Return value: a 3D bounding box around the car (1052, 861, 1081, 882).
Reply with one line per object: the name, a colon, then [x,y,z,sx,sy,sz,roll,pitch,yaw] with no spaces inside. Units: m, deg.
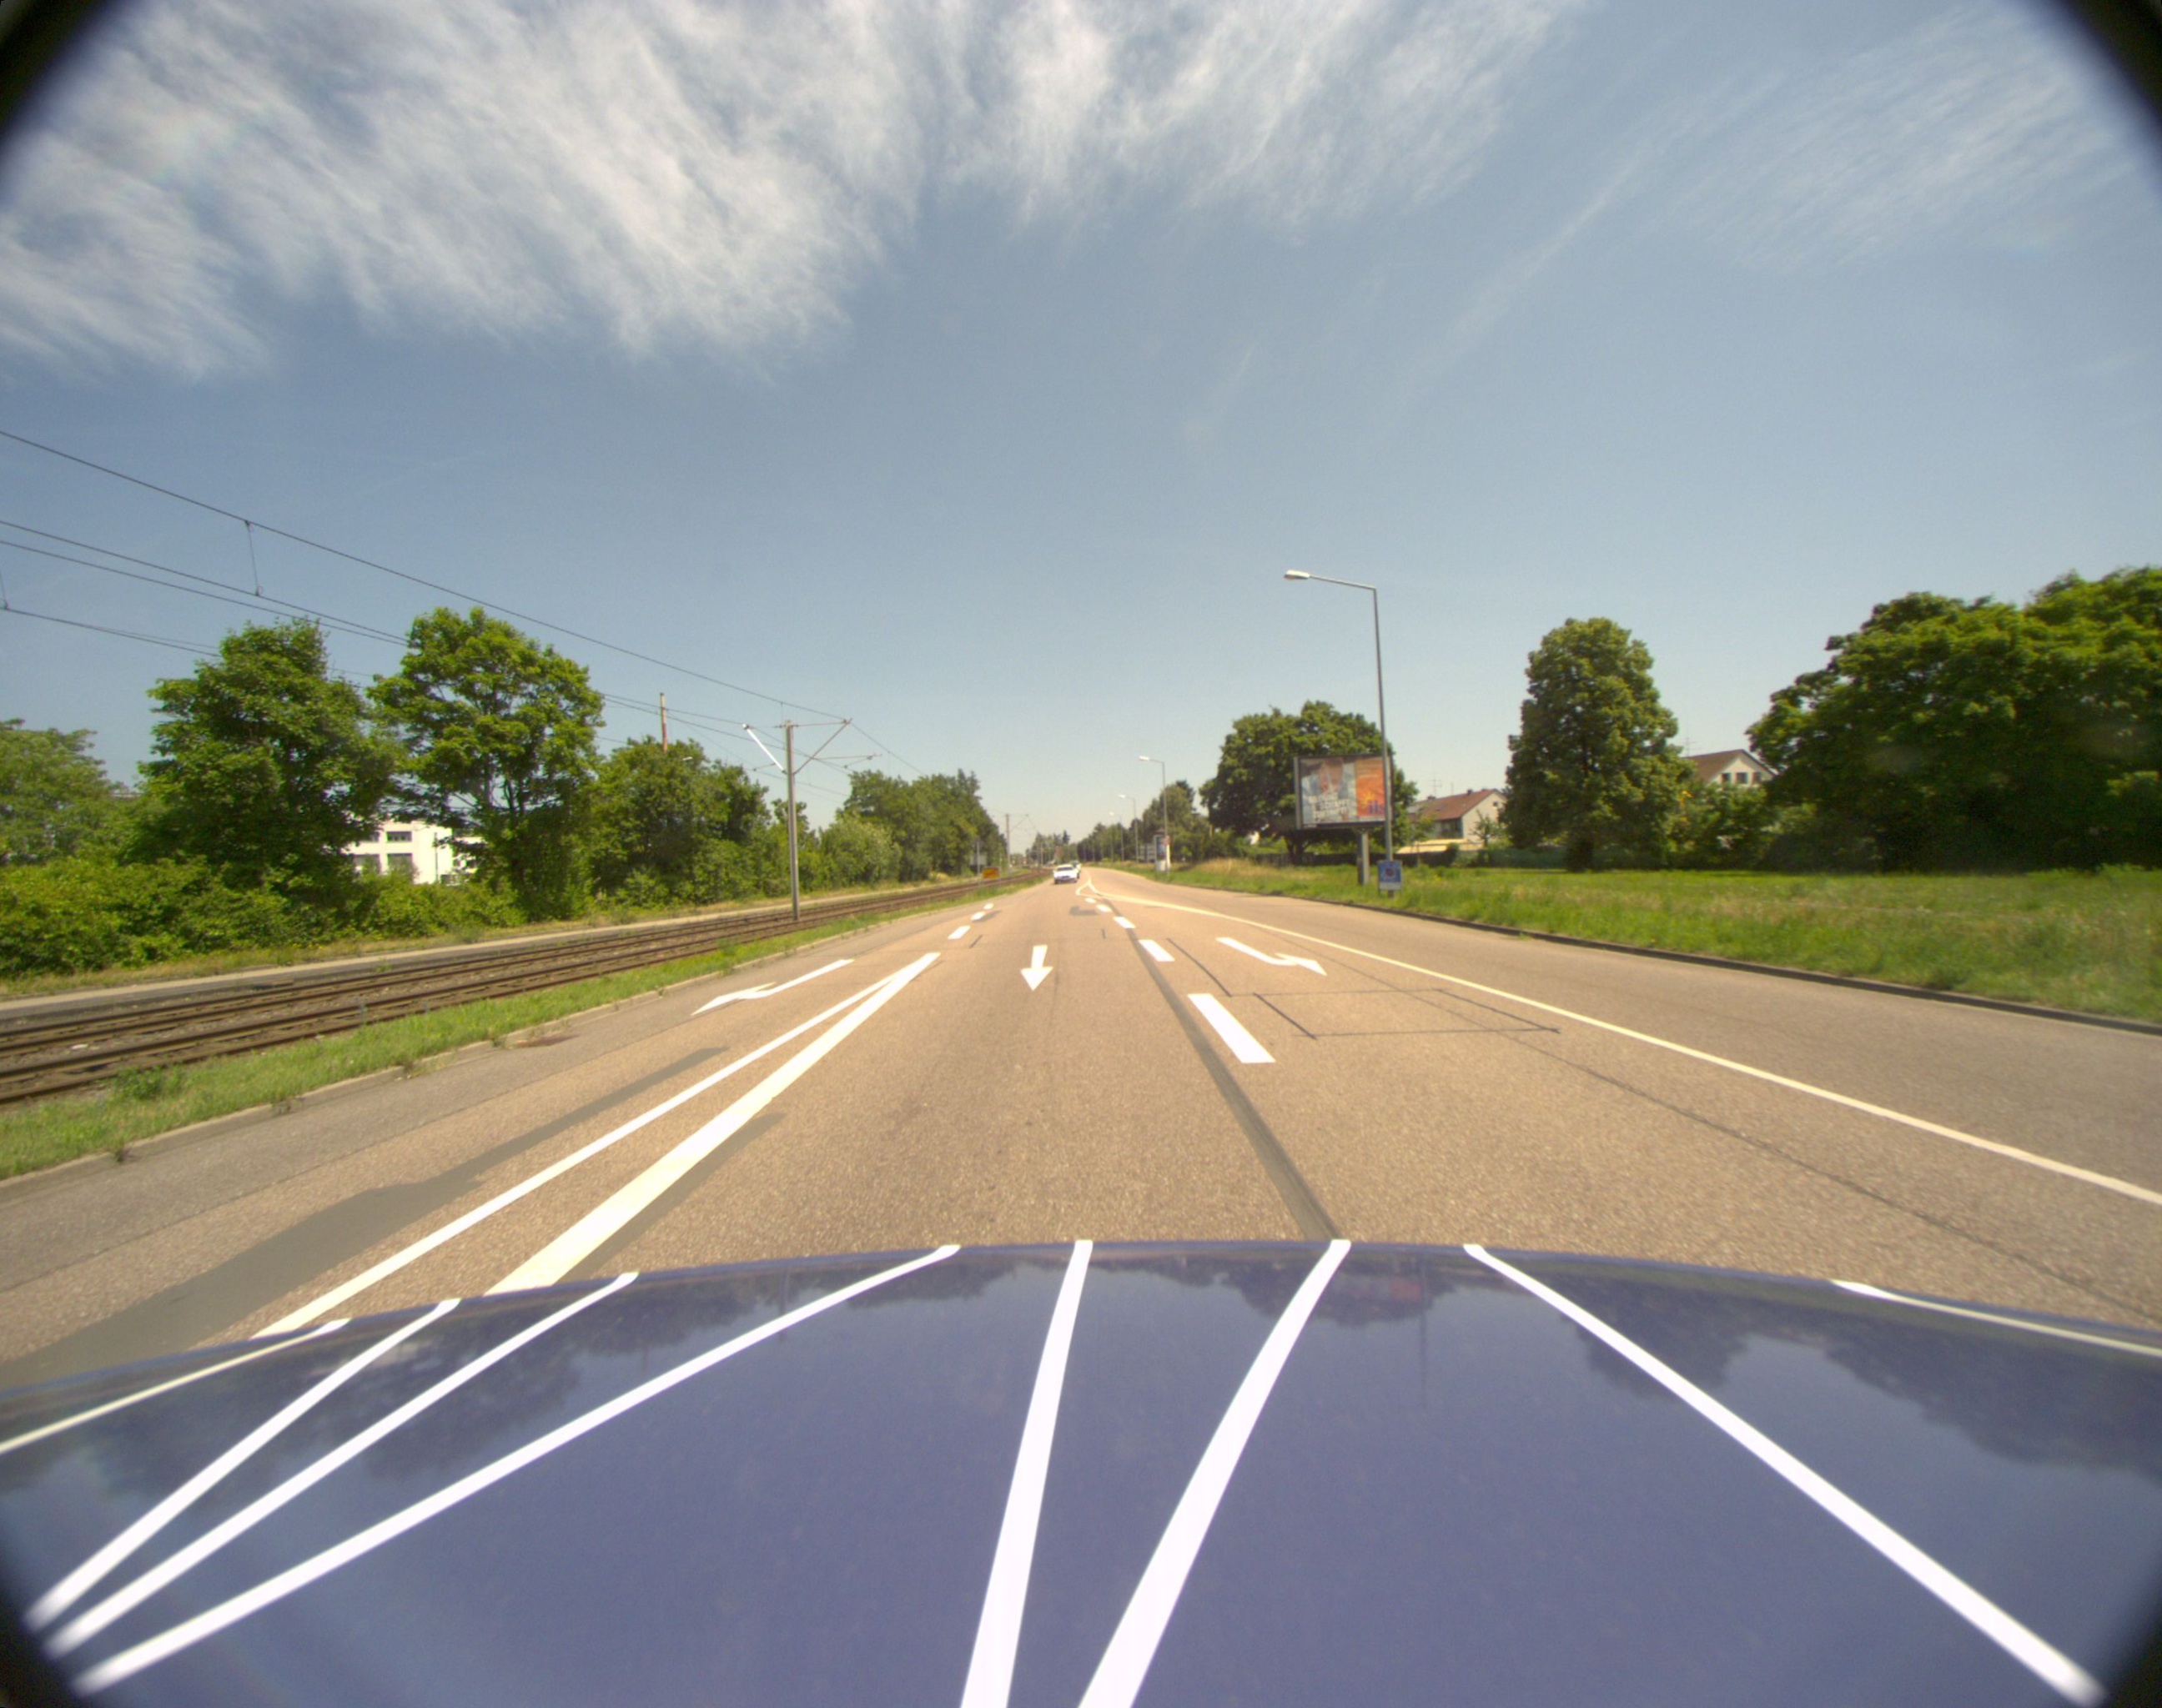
car: [-1.142,1.377,61.343,1.954,1.467,4.363,-3,0,3]
